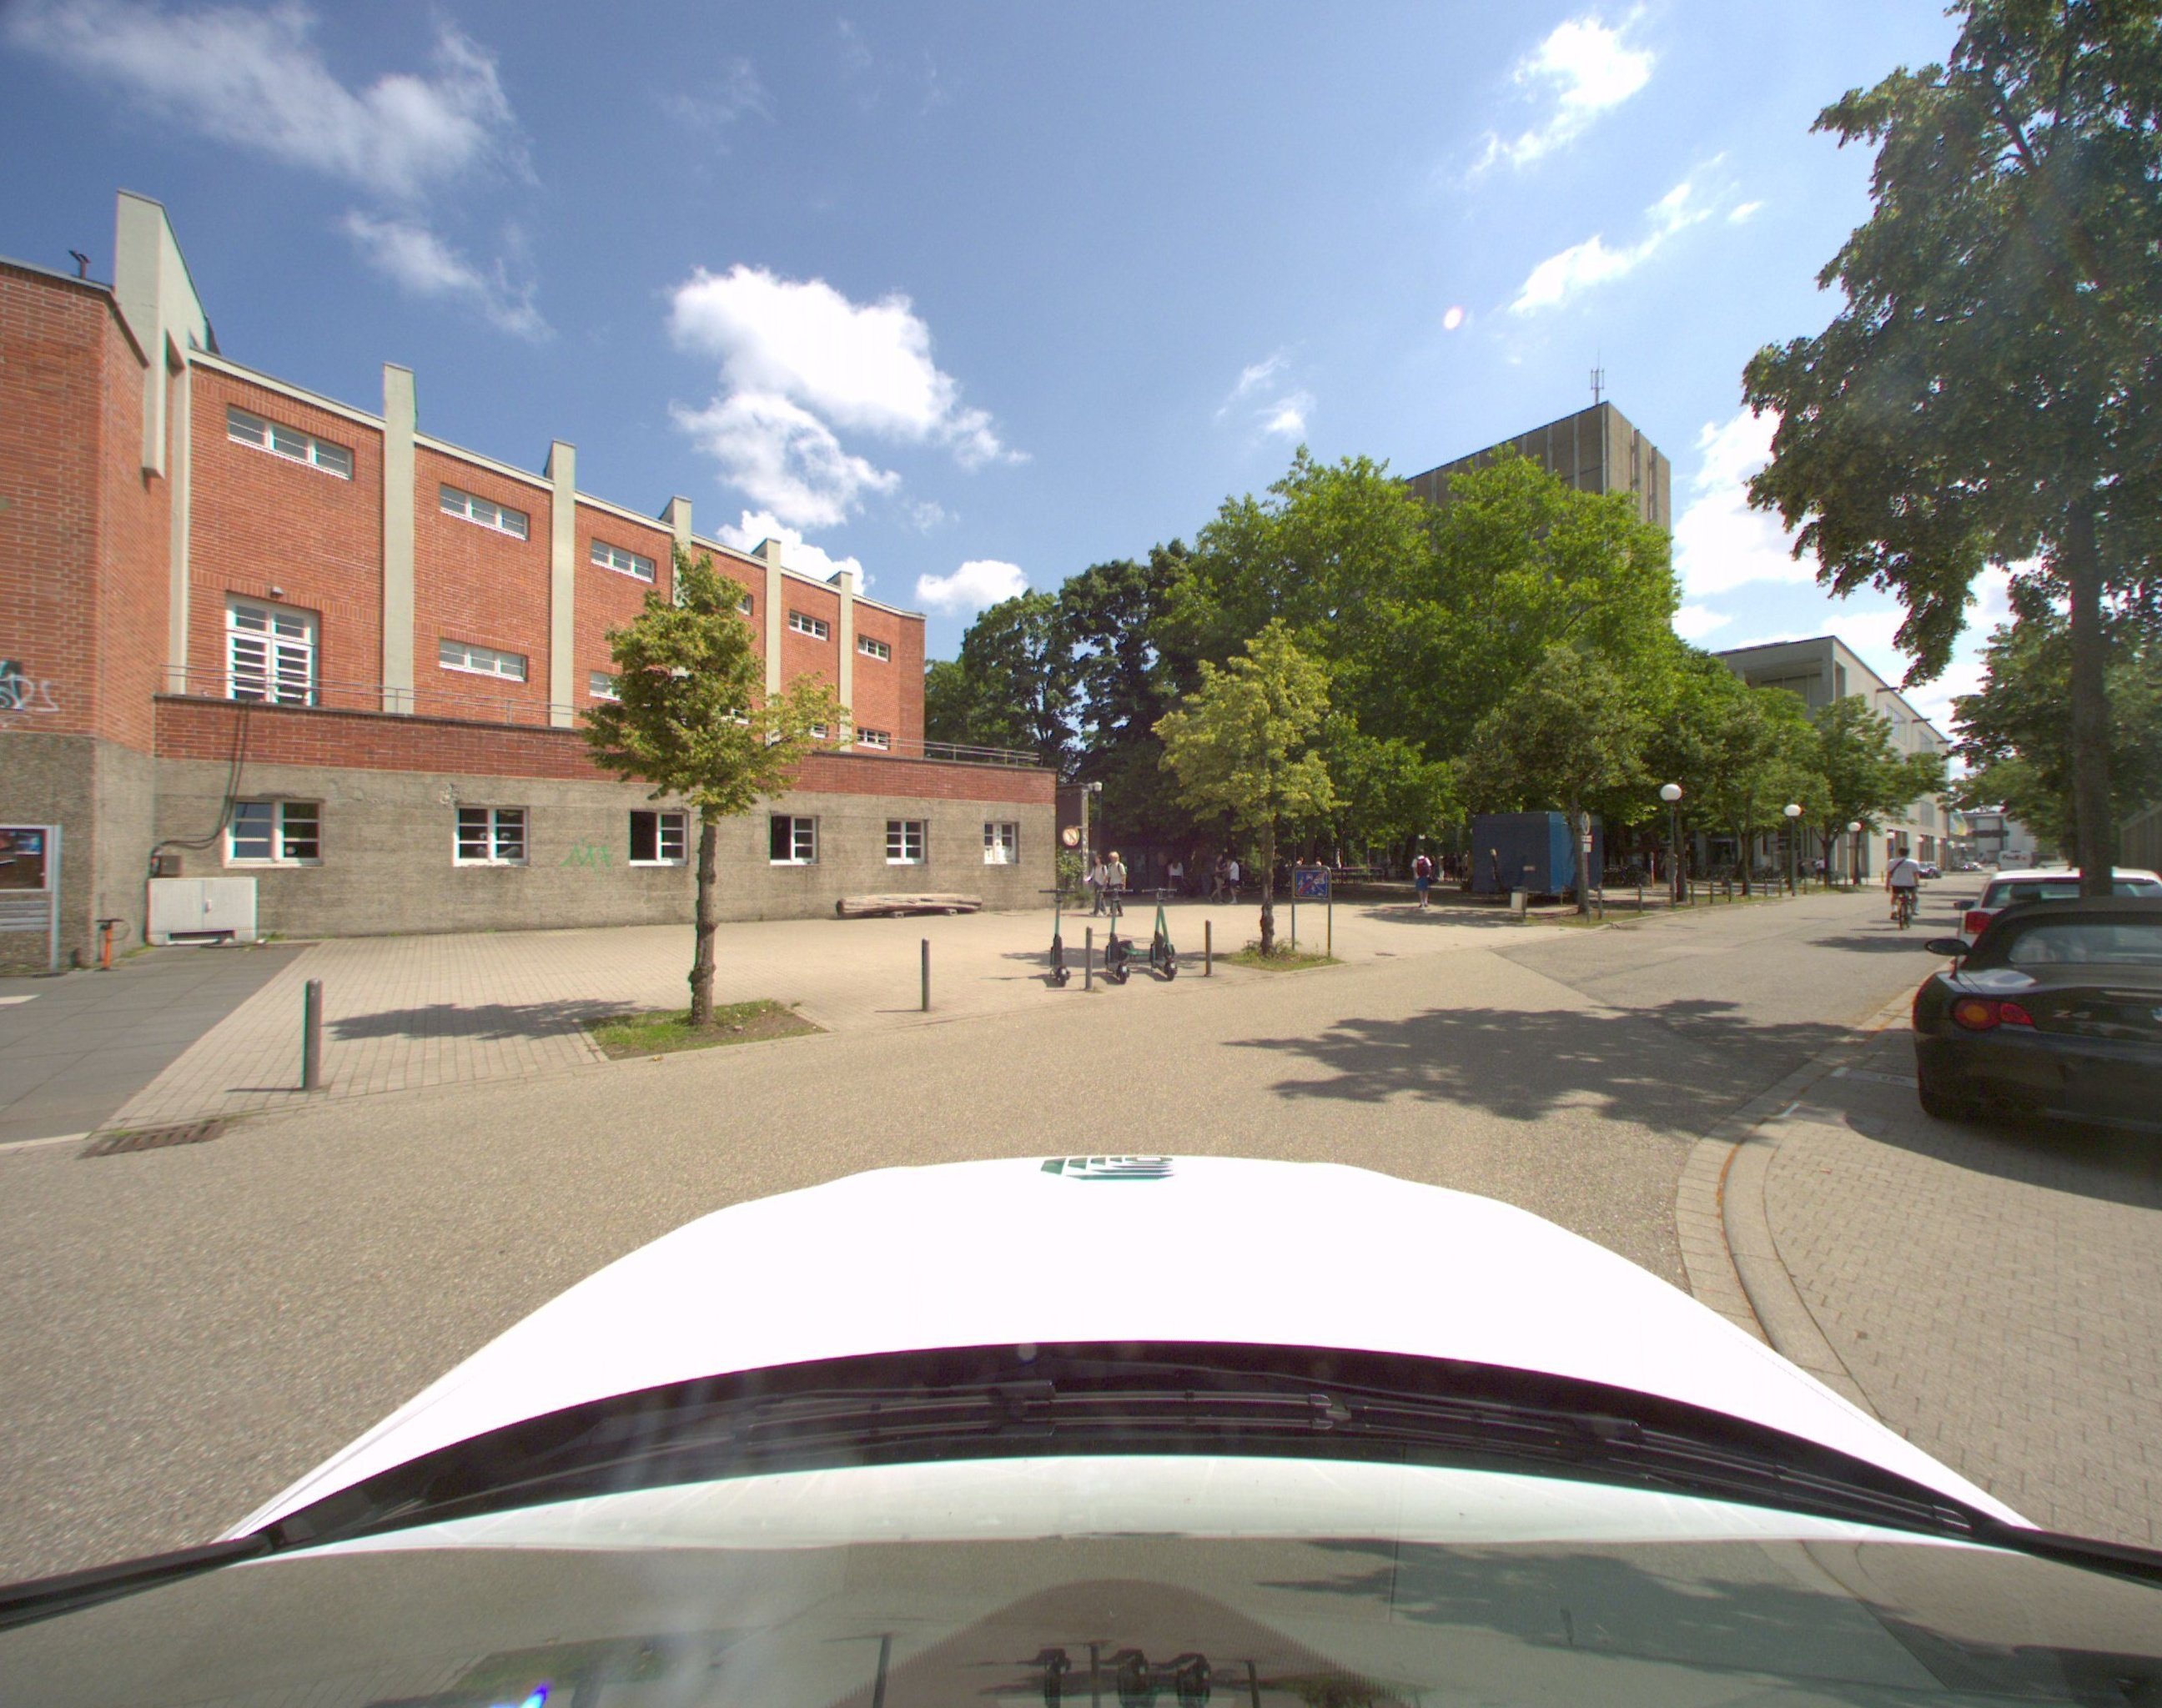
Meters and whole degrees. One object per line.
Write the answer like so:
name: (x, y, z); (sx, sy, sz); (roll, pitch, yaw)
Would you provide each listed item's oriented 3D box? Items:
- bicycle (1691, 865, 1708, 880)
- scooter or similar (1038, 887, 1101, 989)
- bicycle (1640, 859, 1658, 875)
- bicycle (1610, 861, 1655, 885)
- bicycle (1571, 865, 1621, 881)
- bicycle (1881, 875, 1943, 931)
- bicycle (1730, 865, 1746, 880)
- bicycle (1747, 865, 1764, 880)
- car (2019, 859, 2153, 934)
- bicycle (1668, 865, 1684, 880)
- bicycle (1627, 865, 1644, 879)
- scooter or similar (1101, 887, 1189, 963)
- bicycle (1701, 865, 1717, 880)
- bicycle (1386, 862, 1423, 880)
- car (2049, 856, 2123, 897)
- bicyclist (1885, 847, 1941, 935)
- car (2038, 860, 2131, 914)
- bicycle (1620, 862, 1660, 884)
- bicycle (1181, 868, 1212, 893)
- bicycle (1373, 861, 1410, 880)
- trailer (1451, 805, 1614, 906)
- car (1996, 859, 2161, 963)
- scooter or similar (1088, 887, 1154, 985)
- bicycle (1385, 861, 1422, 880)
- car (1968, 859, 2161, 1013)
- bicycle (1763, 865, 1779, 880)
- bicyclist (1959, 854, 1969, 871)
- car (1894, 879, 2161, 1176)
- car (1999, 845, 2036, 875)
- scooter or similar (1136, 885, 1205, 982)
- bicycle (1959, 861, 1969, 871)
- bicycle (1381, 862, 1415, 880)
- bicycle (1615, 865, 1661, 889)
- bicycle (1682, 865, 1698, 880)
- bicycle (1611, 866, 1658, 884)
bicycle: (48.016, 1.431, 63.231); (1.982, 1.086, 0.547); (0, 1, -39)
scooter or similar: (-0.179, 1.078, 10.955); (0.569, 1.225, 1.569); (0, -1, -11)
bicycle: (45.673, 1.004, 65.480); (2.393, 1.253, 0.521); (0, -1, -38)
bicycle: (30.152, 1.039, 44.568); (2.034, 1.234, 0.814); (1, 0, 34)
bicycle: (34.633, 1.279, 54.817); (2.709, 1.003, 0.885); (0, 0, 9)
bicycle: (19.651, 1.118, 19.241); (2.764, 1.200, 0.874); (0, -1, -41)
bicycle: (49.781, 1.412, 61.696); (1.982, 1.086, 0.547); (0, 1, -39)
bicycle: (50.233, 1.384, 60.641); (1.982, 1.086, 0.547); (0, 1, -39)
car: (22.653, 0.884, 18.495); (4.696, 1.467, 1.710); (0, -2, -41)
bicycle: (47.022, 1.451, 64.336); (1.982, 1.086, 0.547); (0, 1, -39)
bicycle: (45.303, 1.495, 66.551); (1.982, 1.086, 0.547); (0, 1, -39)
scooter or similar: (1.056, 1.136, 13.319); (1.352, 1.149, 0.560); (0, -1, -27)
bicycle: (48.411, 1.423, 62.775); (1.982, 1.086, 0.547); (0, 1, -39)
bicycle: (19.989, 1.033, 50.339); (1.989, 1.119, 0.588); (-1, -1, 43)
car: (43.538, 0.992, 35.363); (4.607, 1.664, 1.806); (1, -3, -41)
bicyclist: (19.681, 0.843, 19.263); (0.854, 2.014, 0.866); (1, -1, -41)
car: (31.582, 1.000, 25.717); (4.162, 1.574, 1.689); (0, -2, -41)
bicycle: (29.581, 1.009, 43.096); (1.756, 1.132, 0.461); (0, 0, 34)
bicycle: (5.042, 1.167, 35.613); (1.338, 1.077, 0.418); (1, -2, 7)
bicycle: (18.802, 0.981, 49.327); (1.989, 1.119, 0.588); (-1, -1, 43)
trailer: (15.348, 0.042, 27.499); (6.297, 3.026, 2.674); (0, 0, -39)
car: (16.030, 0.816, 13.138); (4.010, 1.390, 1.632); (-1, -1, -41)
scooter or similar: (0.532, 1.094, 11.366); (0.563, 1.225, 1.569); (0, -1, -11)
bicycle: (19.632, 1.002, 49.609); (1.989, 1.119, 0.588); (-1, -1, 43)
car: (11.480, 0.813, 9.393); (4.010, 1.466, 1.573); (1, -2, -41)
bicycle: (50.666, 1.363, 59.778); (1.982, 1.086, 0.547); (0, 1, -39)
bicyclist: (104.697, 0.998, 96.564); (1.024, 2.014, 0.705); (1, -2, -41)
car: (6.548, 0.848, 5.012); (4.019, 1.280, 1.694); (0, -1, -38)
car: (83.668, 0.515, 72.730); (4.337, 2.539, 2.066); (0, 0, -39)
scooter or similar: (1.232, 1.075, 11.494); (0.523, 1.225, 1.569); (0, -1, -11)
bicycle: (104.758, 1.434, 96.602); (1.898, 1.130, 0.679); (0, -1, -41)
bicycle: (20.310, 1.109, 52.212); (1.989, 1.119, 0.588); (-1, -1, 43)
bicycle: (30.956, 1.254, 45.296); (2.034, 1.234, 0.814); (2, 1, 34)
bicycle: (47.714, 1.446, 63.820); (1.982, 1.086, 0.547); (0, 1, -39)
bicycle: (31.591, 1.191, 46.478); (2.128, 1.008, 0.681); (0, 0, 21)
